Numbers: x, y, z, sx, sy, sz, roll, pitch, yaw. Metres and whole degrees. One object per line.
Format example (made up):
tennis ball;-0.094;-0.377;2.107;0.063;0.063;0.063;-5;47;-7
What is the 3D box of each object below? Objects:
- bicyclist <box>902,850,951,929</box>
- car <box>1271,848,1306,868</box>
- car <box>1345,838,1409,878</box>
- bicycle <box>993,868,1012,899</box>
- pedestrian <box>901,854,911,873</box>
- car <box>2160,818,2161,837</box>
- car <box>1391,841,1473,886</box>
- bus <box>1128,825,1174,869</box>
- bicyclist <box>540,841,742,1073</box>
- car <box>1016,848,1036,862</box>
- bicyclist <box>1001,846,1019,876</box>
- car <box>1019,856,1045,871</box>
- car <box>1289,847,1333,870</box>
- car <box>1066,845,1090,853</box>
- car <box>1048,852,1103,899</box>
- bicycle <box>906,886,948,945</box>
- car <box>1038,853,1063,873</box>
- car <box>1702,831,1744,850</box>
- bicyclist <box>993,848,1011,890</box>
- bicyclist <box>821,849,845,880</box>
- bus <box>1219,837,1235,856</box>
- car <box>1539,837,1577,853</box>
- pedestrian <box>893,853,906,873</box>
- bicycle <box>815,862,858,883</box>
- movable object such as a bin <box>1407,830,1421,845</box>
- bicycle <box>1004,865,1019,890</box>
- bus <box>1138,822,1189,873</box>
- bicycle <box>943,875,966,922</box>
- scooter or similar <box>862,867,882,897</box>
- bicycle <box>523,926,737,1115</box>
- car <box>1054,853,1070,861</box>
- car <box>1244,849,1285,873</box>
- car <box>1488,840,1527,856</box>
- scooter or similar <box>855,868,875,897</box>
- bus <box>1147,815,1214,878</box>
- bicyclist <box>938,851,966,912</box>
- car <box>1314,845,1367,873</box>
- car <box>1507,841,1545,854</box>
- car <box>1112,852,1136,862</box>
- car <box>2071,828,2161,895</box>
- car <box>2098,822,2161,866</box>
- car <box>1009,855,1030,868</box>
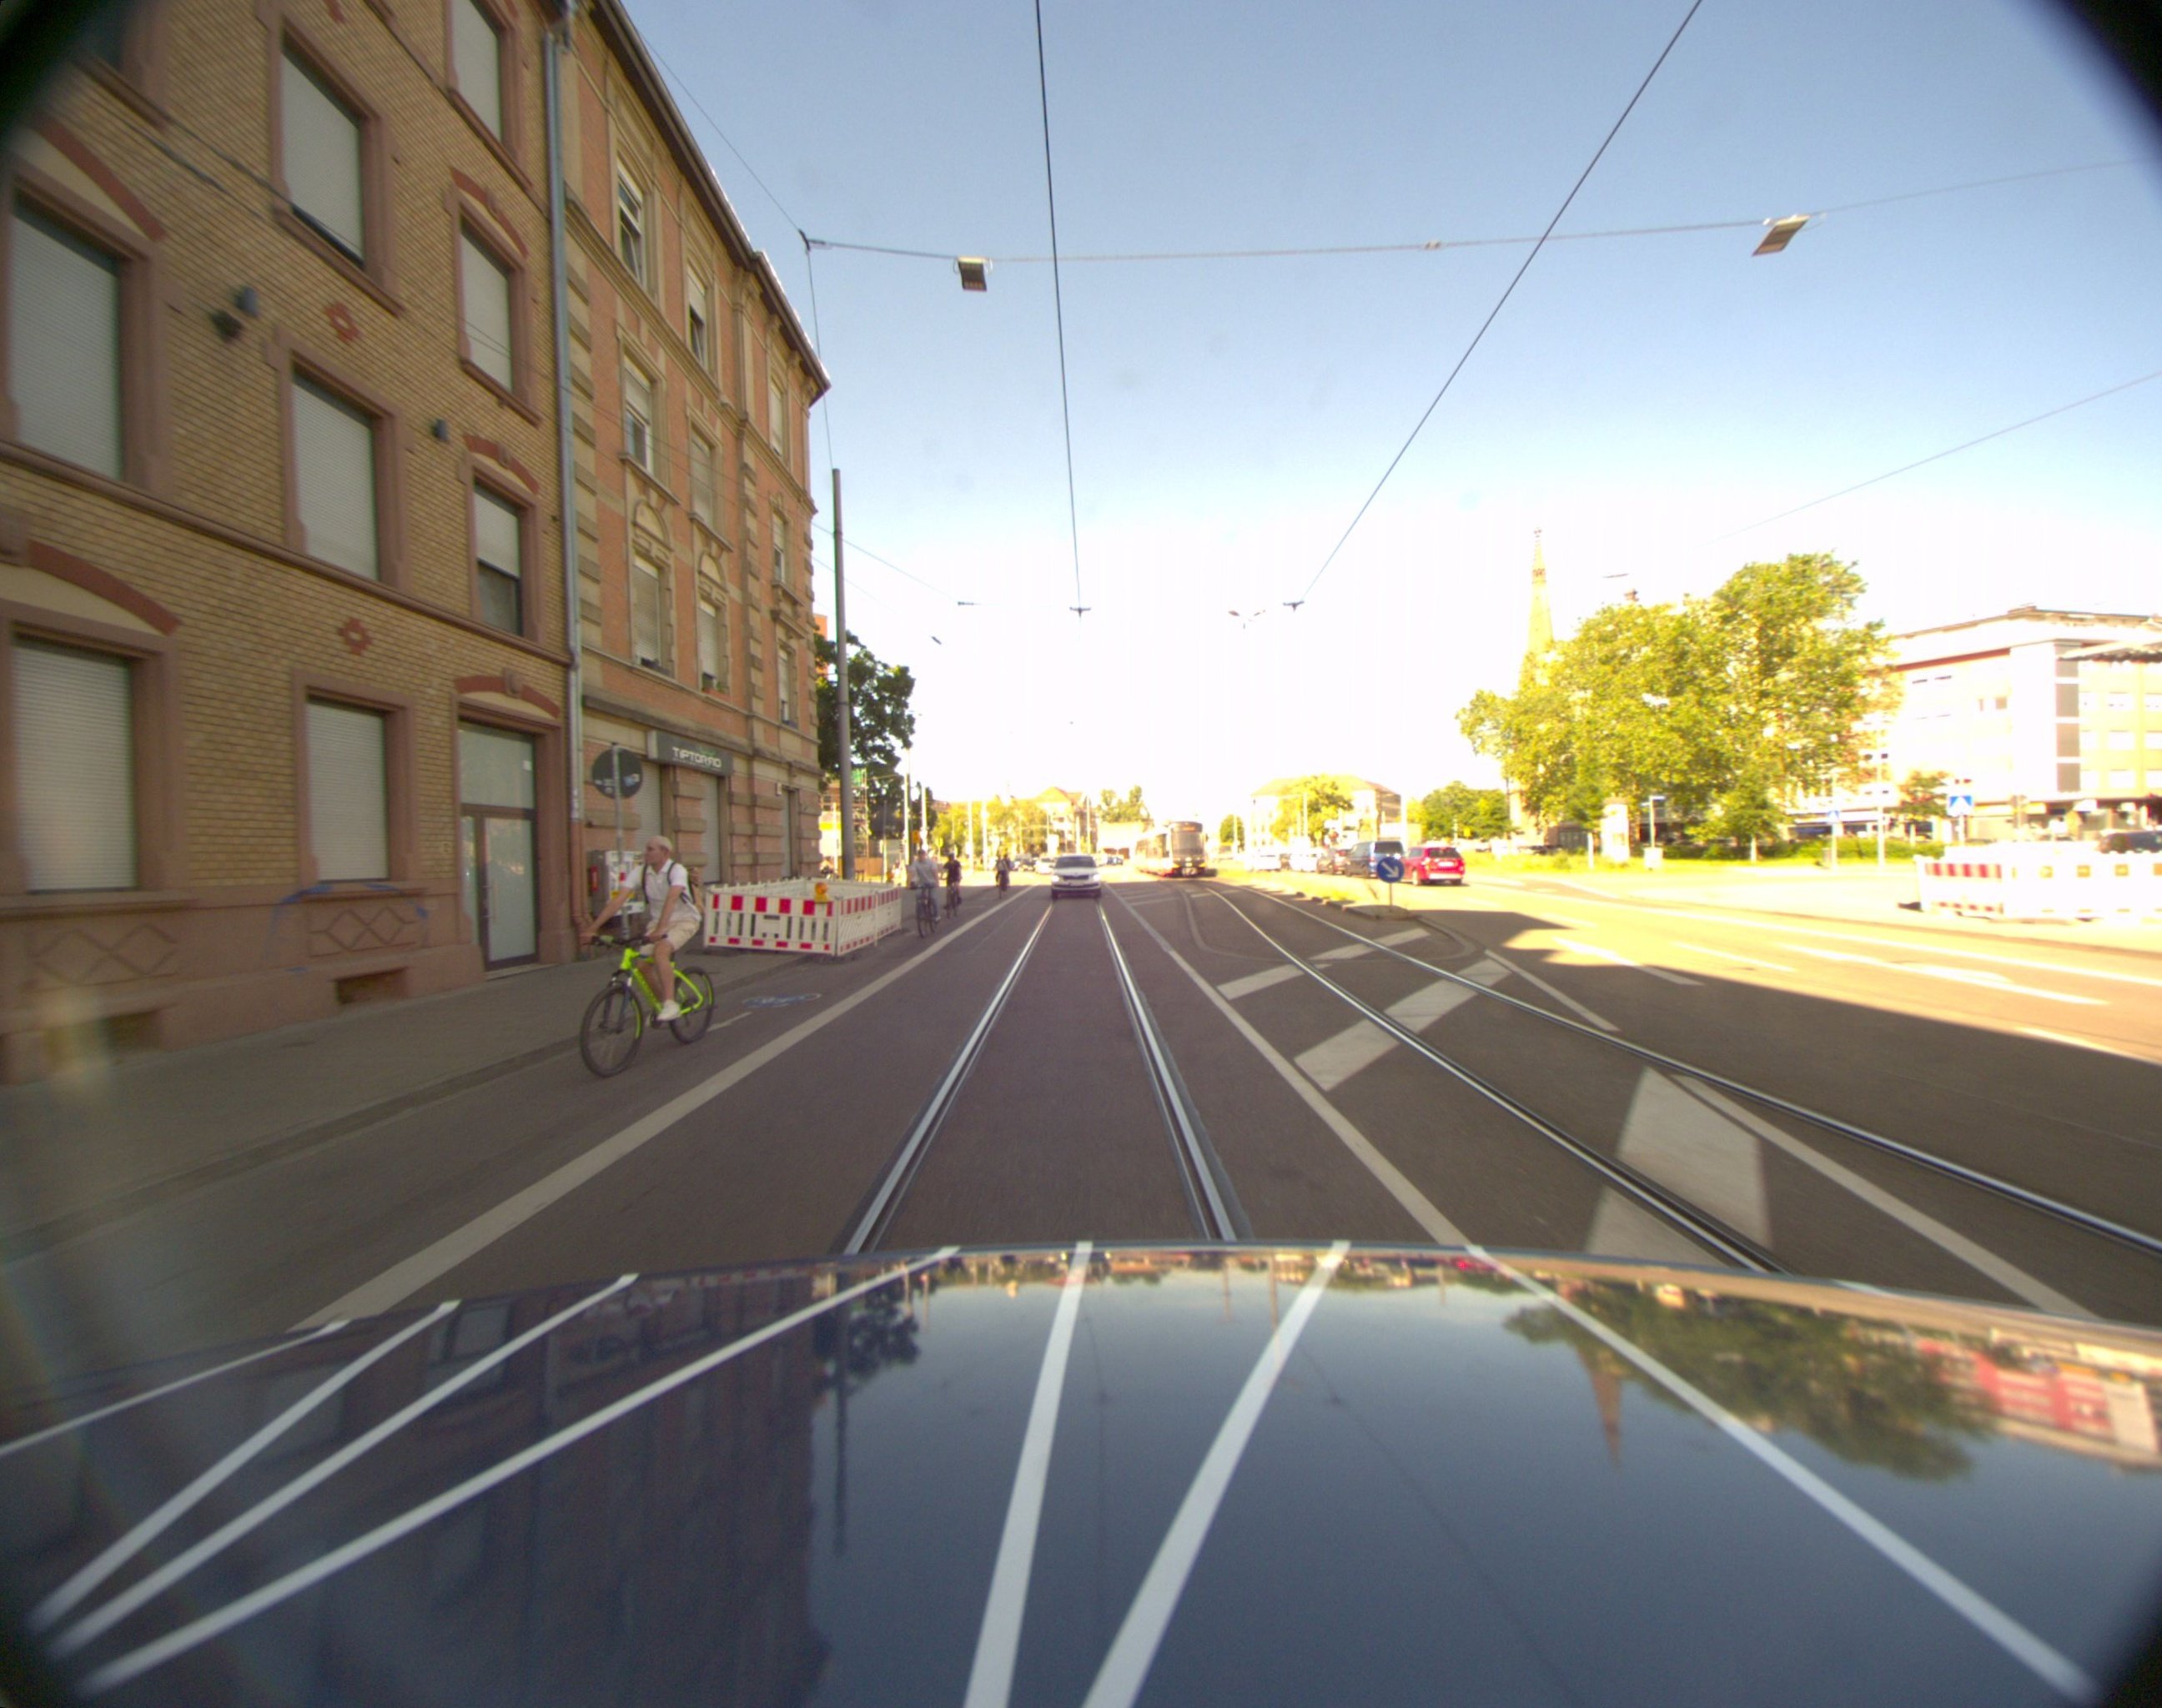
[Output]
bicyclist;-3.249;0.727;16.037;0.784;1.584;0.886;-2;1;1
car;15.839;0.285;58.098;1.654;1.470;3.970;-1;1;1
car;15.191;0.164;39.181;1.807;1.922;4.165;-1;1;3
bicycle;-3.142;1.183;30.568;0.533;1.111;1.933;-3;1;0
pedestrian;-16.863;0.909;73.180;0.661;1.747;0.823;-4;1;-3
car;39.220;-0.629;24.789;1.759;1.554;4.202;-2;-3;-9
car;14.639;0.333;31.969;1.803;1.709;4.417;-1;1;6
bus;6.334;-0.605;71.016;2.848;3.569;13.493;-2;0;-1
bicyclist;-3.535;0.765;6.192;0.681;1.674;1.121;-3;1;25
car;-11.201;0.174;155.466;2.246;2.665;5.296;-4;1;-24
bicyclist;-3.486;0.319;37.414;0.675;1.413;1.036;-3;1;0
car;-5.484;1.015;84.621;1.888;1.557;4.006;-4;1;-17
car;15.878;0.296;52.605;1.807;1.424;3.999;-3;1;1
car;-0.763;-1.200;190.265;5.241;1.793;2.406;-4;1;-19
car;-0.124;0.767;29.314;1.868;1.635;4.397;-2;0;2
bicycle;-3.228;1.265;16.054;0.387;1.063;1.934;-2;0;2
car;-2.790;0.755;68.682;1.887;1.621;4.009;-4;1;-7
car;56.905;-1.203;67.309;4.007;1.490;1.995;-2;0;-38
bicyclist;-3.176;0.590;30.653;0.551;1.604;0.953;-3;1;0
bicyclist;-13.812;0.592;42.293;1.048;1.651;0.453;-5;2;-40
bus;28.606;-1.518;148.774;2.846;3.104;11.825;-3;2;12
car;50.298;-0.977;80.090;4.006;1.490;1.739;-2;0;-30
pedestrian;-17.797;0.890;74.513;0.933;1.918;1.048;-4;1;-3
bicycle;-13.651;1.029;42.420;2.199;1.052;0.487;-3;1;-39
movable object such as a bin;37.471;-1.816;85.498;0.993;1.625;0.935;-4;2;-33
bicycle;-3.420;1.141;37.344;0.533;1.152;1.865;-3;0;-1
bus;6.354;-0.519;60.111;2.848;3.569;10.725;-2;0;1
bicycle;-3.478;1.192;20.796;0.533;1.111;1.931;-2;2;-12
scooter or similar;-9.109;1.224;33.166;0.271;1.212;1.703;-3;1;1
bicycle;-3.590;1.258;6.282;0.533;1.111;1.934;-4;0;0
car;-3.508;0.609;138.942;1.853;1.408;4.475;-2;0;-15
car;12.855;0.450;53.539;1.807;1.424;4.540;-3;1;1
car;54.570;-0.812;97.287;3.992;1.742;2.002;-3;1;19
scooter or similar;-9.405;1.228;33.137;0.271;1.150;1.703;-3;1;1
bus;6.246;-0.464;49.581;2.848;3.569;11.269;-2;0;0
bicyclist;-3.556;0.734;20.869;0.625;1.604;0.980;-4;1;-12
car;15.555;0.266;45.804;1.807;1.569;4.164;-1;1;1
car;57.973;-0.849;98.985;3.992;1.353;1.819;-3;1;19
car;6.372;0.441;113.910;1.915;1.449;4.592;-2;1;-19
car;26.314;0.124;18.568;1.754;1.527;4.008;-3;-1;41
car;36.557;-0.421;24.444;1.759;1.391;4.202;-2;-3;-9
car;-8.013;0.954;98.872;1.888;1.557;4.006;-4;1;-17
